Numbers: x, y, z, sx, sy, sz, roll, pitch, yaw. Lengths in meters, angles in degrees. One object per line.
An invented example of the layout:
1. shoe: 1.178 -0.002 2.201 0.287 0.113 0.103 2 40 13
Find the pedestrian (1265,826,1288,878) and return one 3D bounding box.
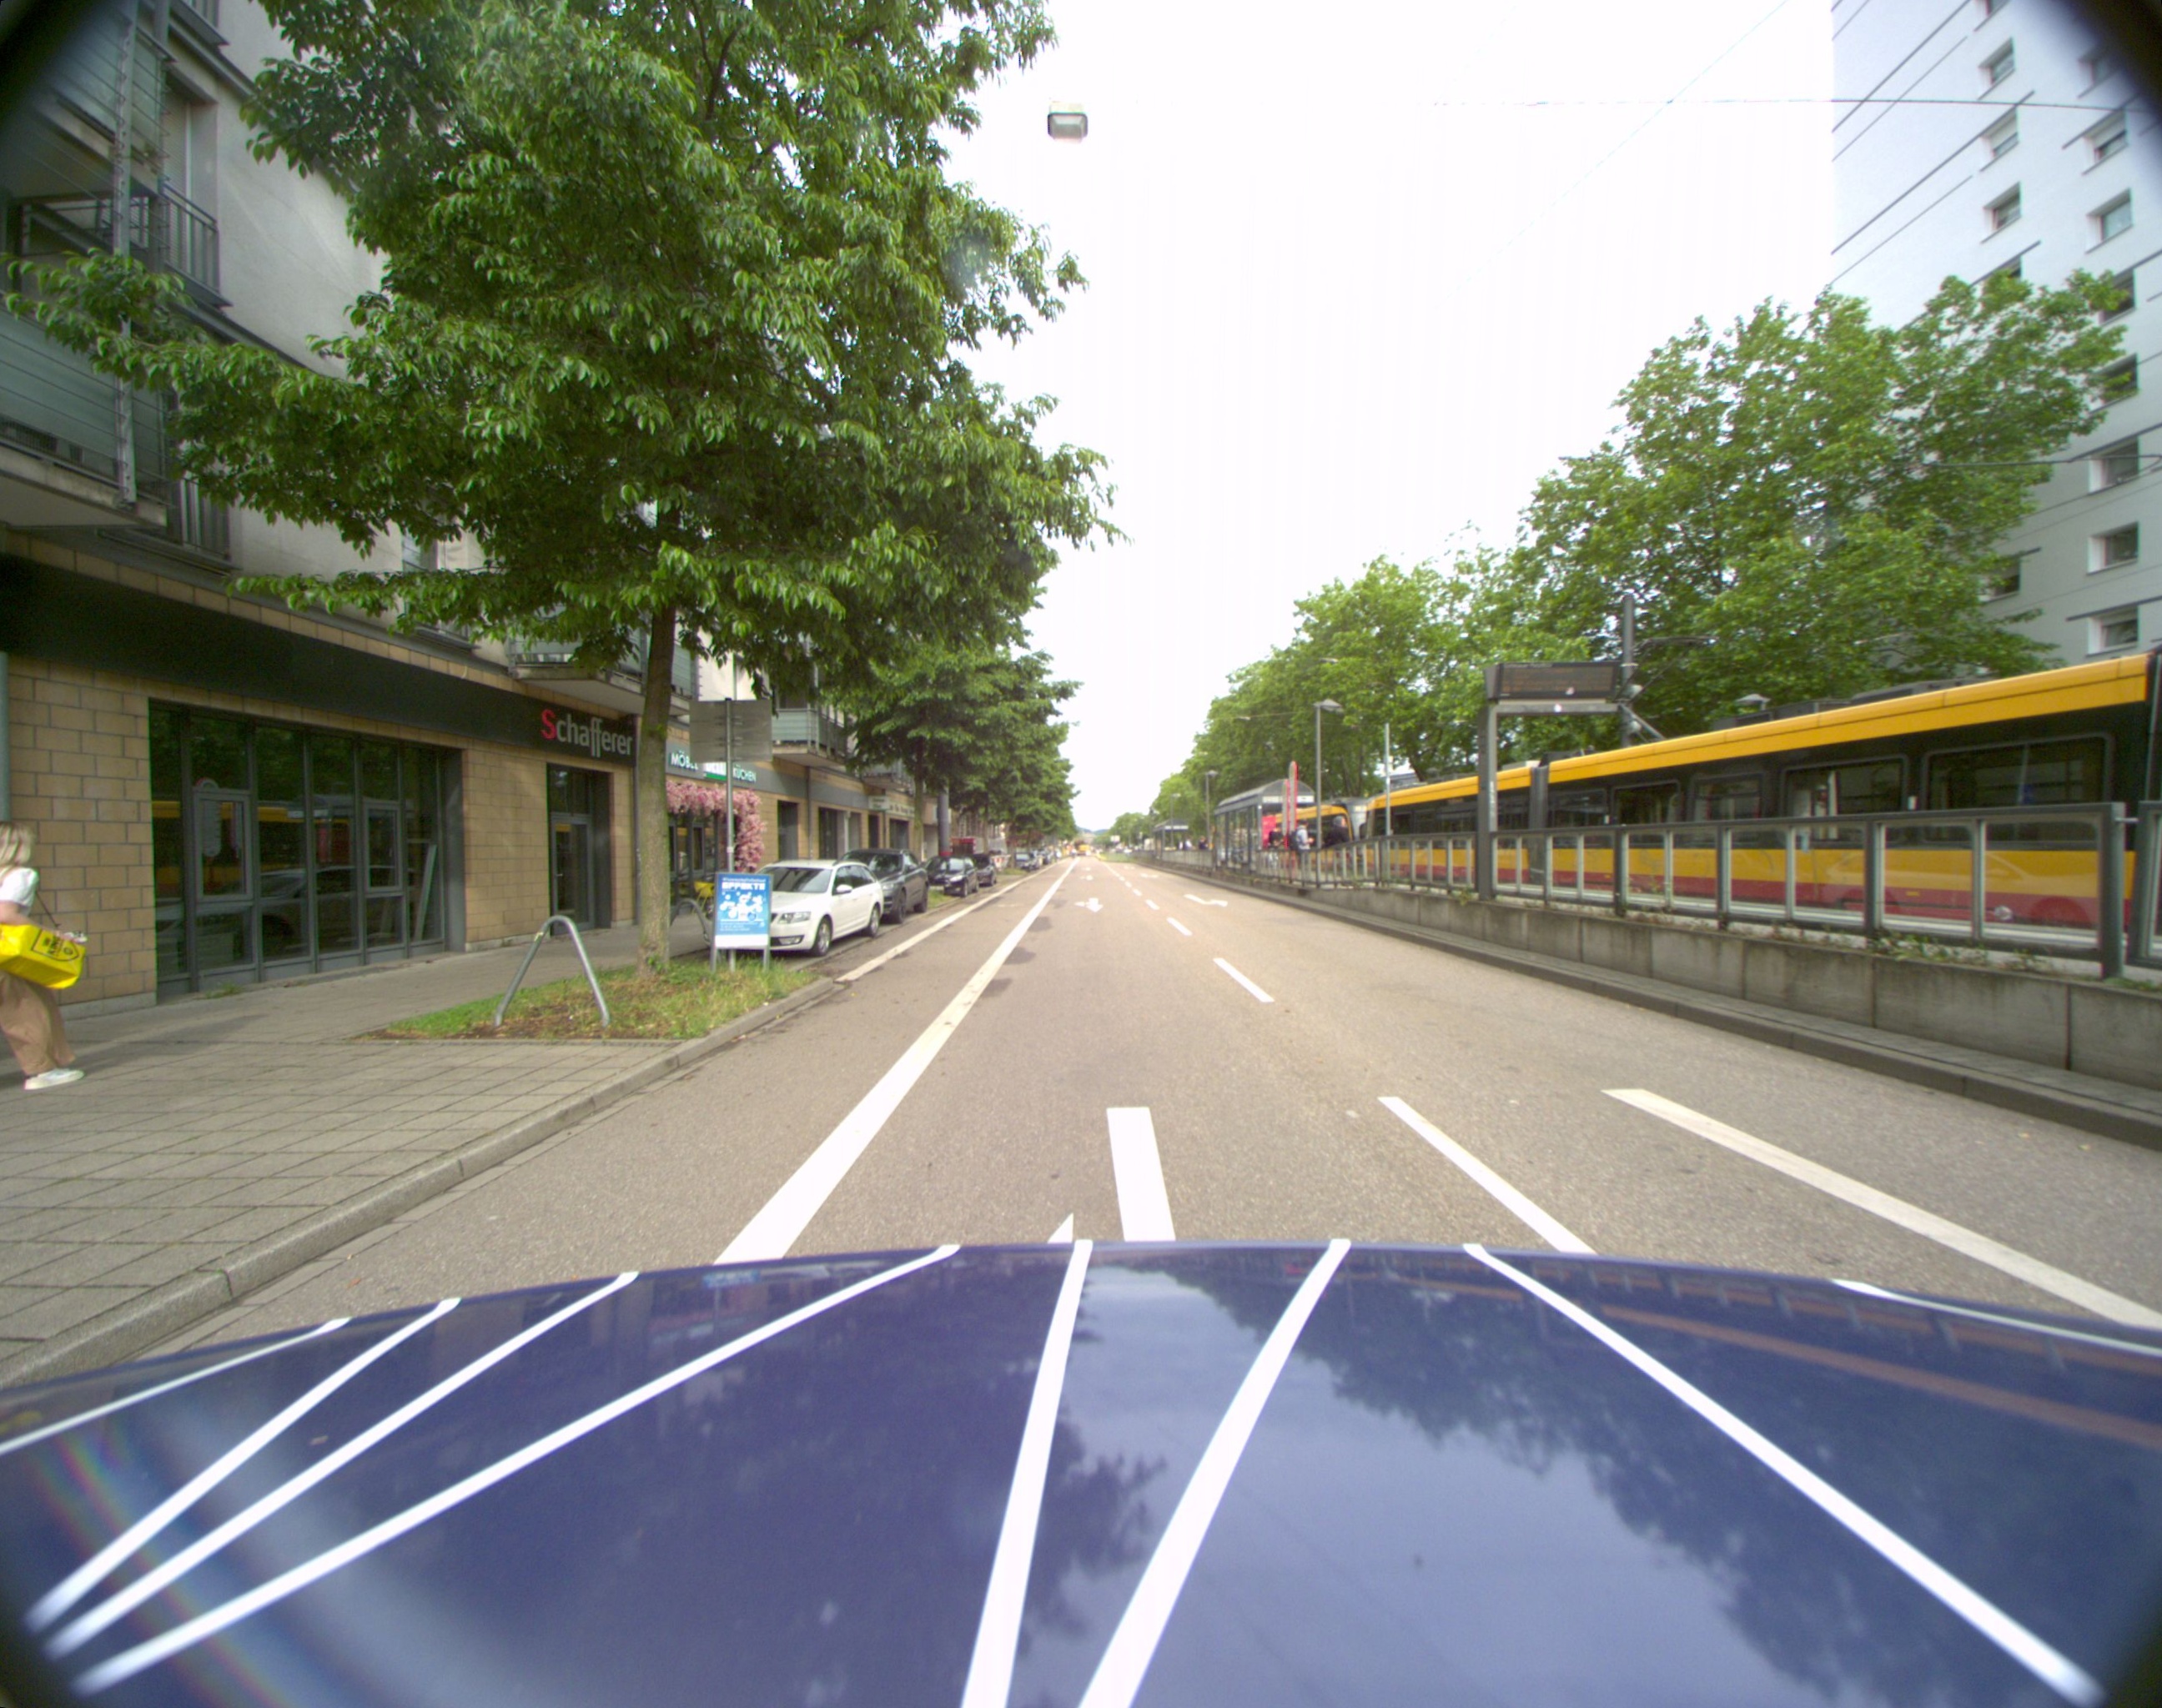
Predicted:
1. pedestrian: 6.233 -0.055 24.220 0.532 1.623 0.471 -2 1 -2

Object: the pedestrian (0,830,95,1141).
1. pedestrian: -6.552 0.758 4.420 0.617 1.795 0.737 0 1 2

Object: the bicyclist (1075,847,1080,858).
1. bicyclist: -0.566 -0.231 120.144 0.751 1.777 0.838 -2 1 1

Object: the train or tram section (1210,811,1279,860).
1. train or tram section: 13.212 -1.448 62.769 3.100 3.541 12.537 -2 1 1

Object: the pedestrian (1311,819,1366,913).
1. pedestrian: 5.690 0.248 16.785 0.756 2.002 0.816 -3 2 -36

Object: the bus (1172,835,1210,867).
1. bus: 7.398 -0.246 51.519 1.998 2.002 3.999 -2 1 1

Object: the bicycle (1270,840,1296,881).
1. bicycle: 6.141 0.189 23.171 0.420 1.215 1.289 -2 1 0

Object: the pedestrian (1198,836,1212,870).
1. pedestrian: 5.947 -0.047 36.464 0.513 1.623 0.730 -2 1 2

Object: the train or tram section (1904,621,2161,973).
1. train or tram section: 12.447 -0.546 2.200 3.067 3.568 15.846 -2 1 1

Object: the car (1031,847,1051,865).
1. car: -4.083 0.170 78.826 1.837 1.720 4.279 1 1 0

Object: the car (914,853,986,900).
1. car: -4.611 0.748 27.377 1.680 1.433 4.407 2 1 2

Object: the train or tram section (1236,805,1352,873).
1. train or tram section: 13.013 -0.938 48.636 3.067 3.511 15.769 -2 1 1

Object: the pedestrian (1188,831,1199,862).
1. pedestrian: 6.108 -0.414 41.251 0.480 1.623 0.392 -2 1 2

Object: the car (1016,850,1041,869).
1. car: -4.295 0.462 62.764 1.755 1.452 4.279 1 1 0

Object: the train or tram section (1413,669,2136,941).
1. train or tram section: 12.632 -0.757 17.801 3.067 3.511 15.292 -2 1 1

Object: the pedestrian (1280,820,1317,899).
1. pedestrian: 5.667 0.135 19.766 0.753 2.002 0.819 -2 2 24

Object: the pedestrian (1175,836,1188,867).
1. pedestrian: 6.671 -0.176 50.496 0.676 2.002 0.588 -2 1 -2

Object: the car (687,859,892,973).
1. car: -4.706 0.893 13.008 1.680 1.490 4.389 2 1 2

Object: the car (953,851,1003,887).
1. car: -4.697 0.643 35.167 1.802 1.447 4.387 2 1 -1

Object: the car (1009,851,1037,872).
1. car: -4.285 0.530 56.523 1.755 1.452 4.279 1 1 0

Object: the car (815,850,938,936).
1. car: -4.744 0.810 18.299 1.716 1.707 4.710 2 1 -1

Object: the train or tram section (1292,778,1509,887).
1. train or tram section: 12.831 -0.832 33.113 3.067 3.511 15.292 -2 1 1

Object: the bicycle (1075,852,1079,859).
1. bicycle: -0.608 0.262 120.459 0.613 1.116 2.050 -2 0 1
